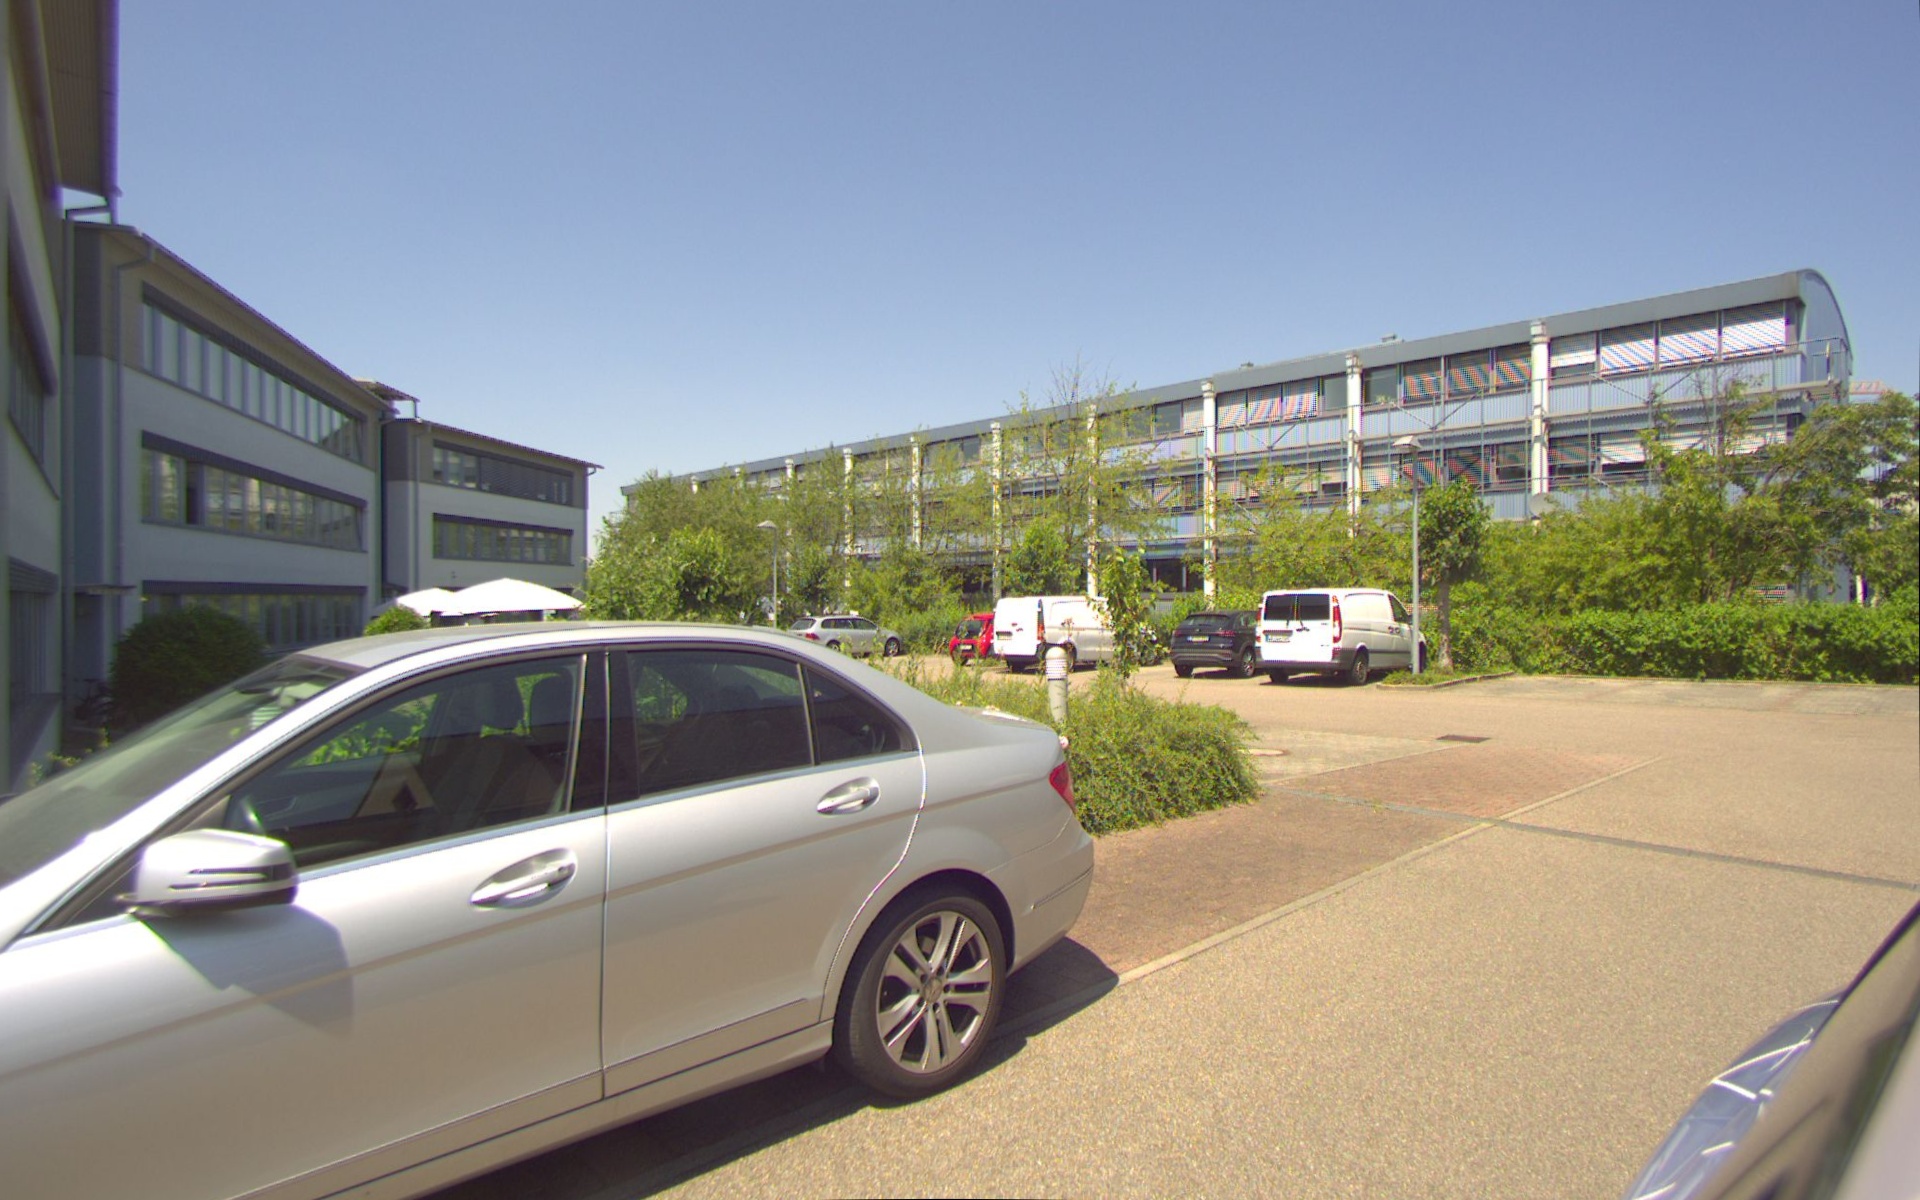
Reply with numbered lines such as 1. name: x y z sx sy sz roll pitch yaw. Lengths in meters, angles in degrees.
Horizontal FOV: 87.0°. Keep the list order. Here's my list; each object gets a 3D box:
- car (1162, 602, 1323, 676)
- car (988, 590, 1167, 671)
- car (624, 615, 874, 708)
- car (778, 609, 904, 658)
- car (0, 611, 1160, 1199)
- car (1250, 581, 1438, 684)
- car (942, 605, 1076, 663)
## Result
1. car: 6.577 0.832 23.292 4.129 1.503 1.734 -1 -1 -45
2. car: 3.130 0.721 26.172 4.851 1.879 1.853 -1 -1 -42
3. car: -3.916 1.081 19.264 4.354 1.539 1.851 0 -2 -44
4. car: -4.027 1.109 34.587 4.014 1.503 1.736 -1 -1 -41
5. car: -1.502 0.775 2.950 4.342 1.416 1.802 -1 0 -41
6. car: 8.028 0.597 20.934 4.601 1.884 1.863 -1 -1 -45
7. car: 1.460 0.956 29.275 3.854 1.507 1.621 -1 -1 -42
